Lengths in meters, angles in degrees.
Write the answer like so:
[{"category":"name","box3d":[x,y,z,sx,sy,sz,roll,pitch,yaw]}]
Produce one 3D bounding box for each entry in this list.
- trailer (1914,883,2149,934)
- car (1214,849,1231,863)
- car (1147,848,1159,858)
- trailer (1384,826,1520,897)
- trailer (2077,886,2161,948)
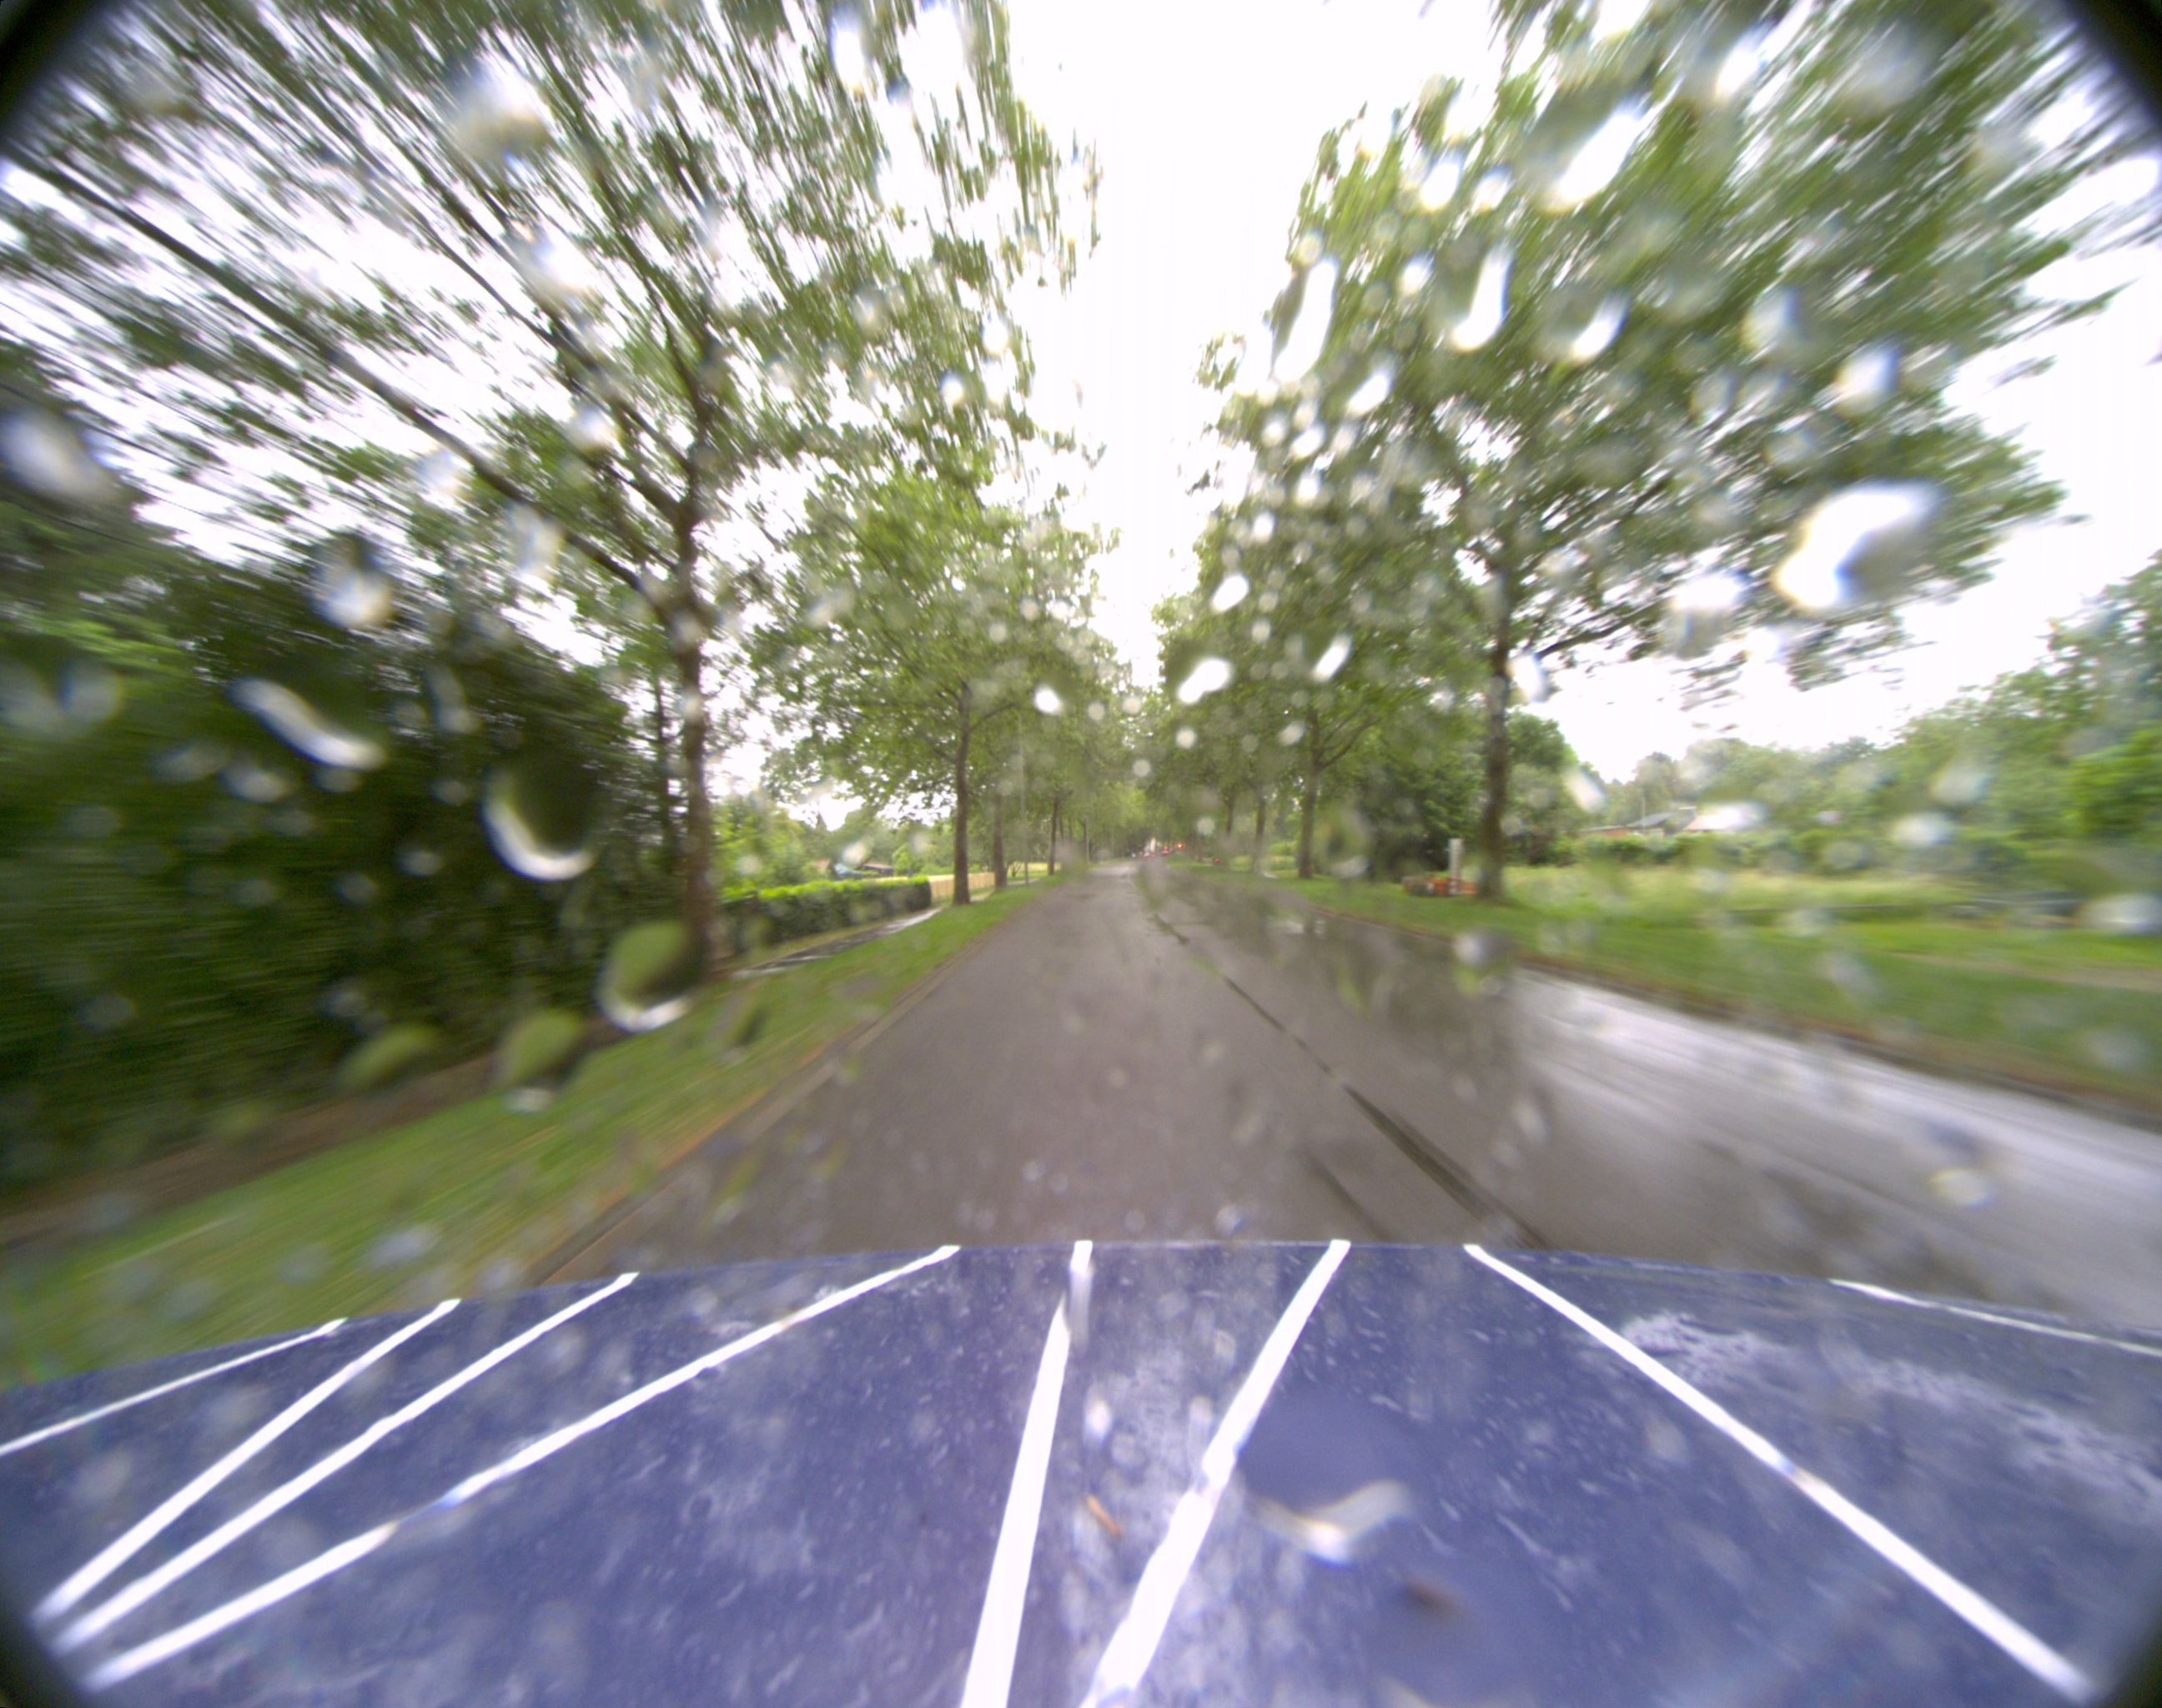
[{"category":"trailer","box3d":[21.504,1.214,17.305,3.082,0.939,1.768,-2,1,2]},{"category":"car","box3d":[18.874,0.255,101.286,1.896,1.672,4.004,-1,1,16]},{"category":"car","box3d":[10.809,-0.185,114.638,1.593,1.444,3.373,-2,1,2]},{"category":"trailer","box3d":[15.605,0.263,32.565,2.804,2.648,6.653,-2,1,3]},{"category":"trailer","box3d":[22.114,1.149,14.019,4.327,1.026,2.382,-2,1,0]}]
